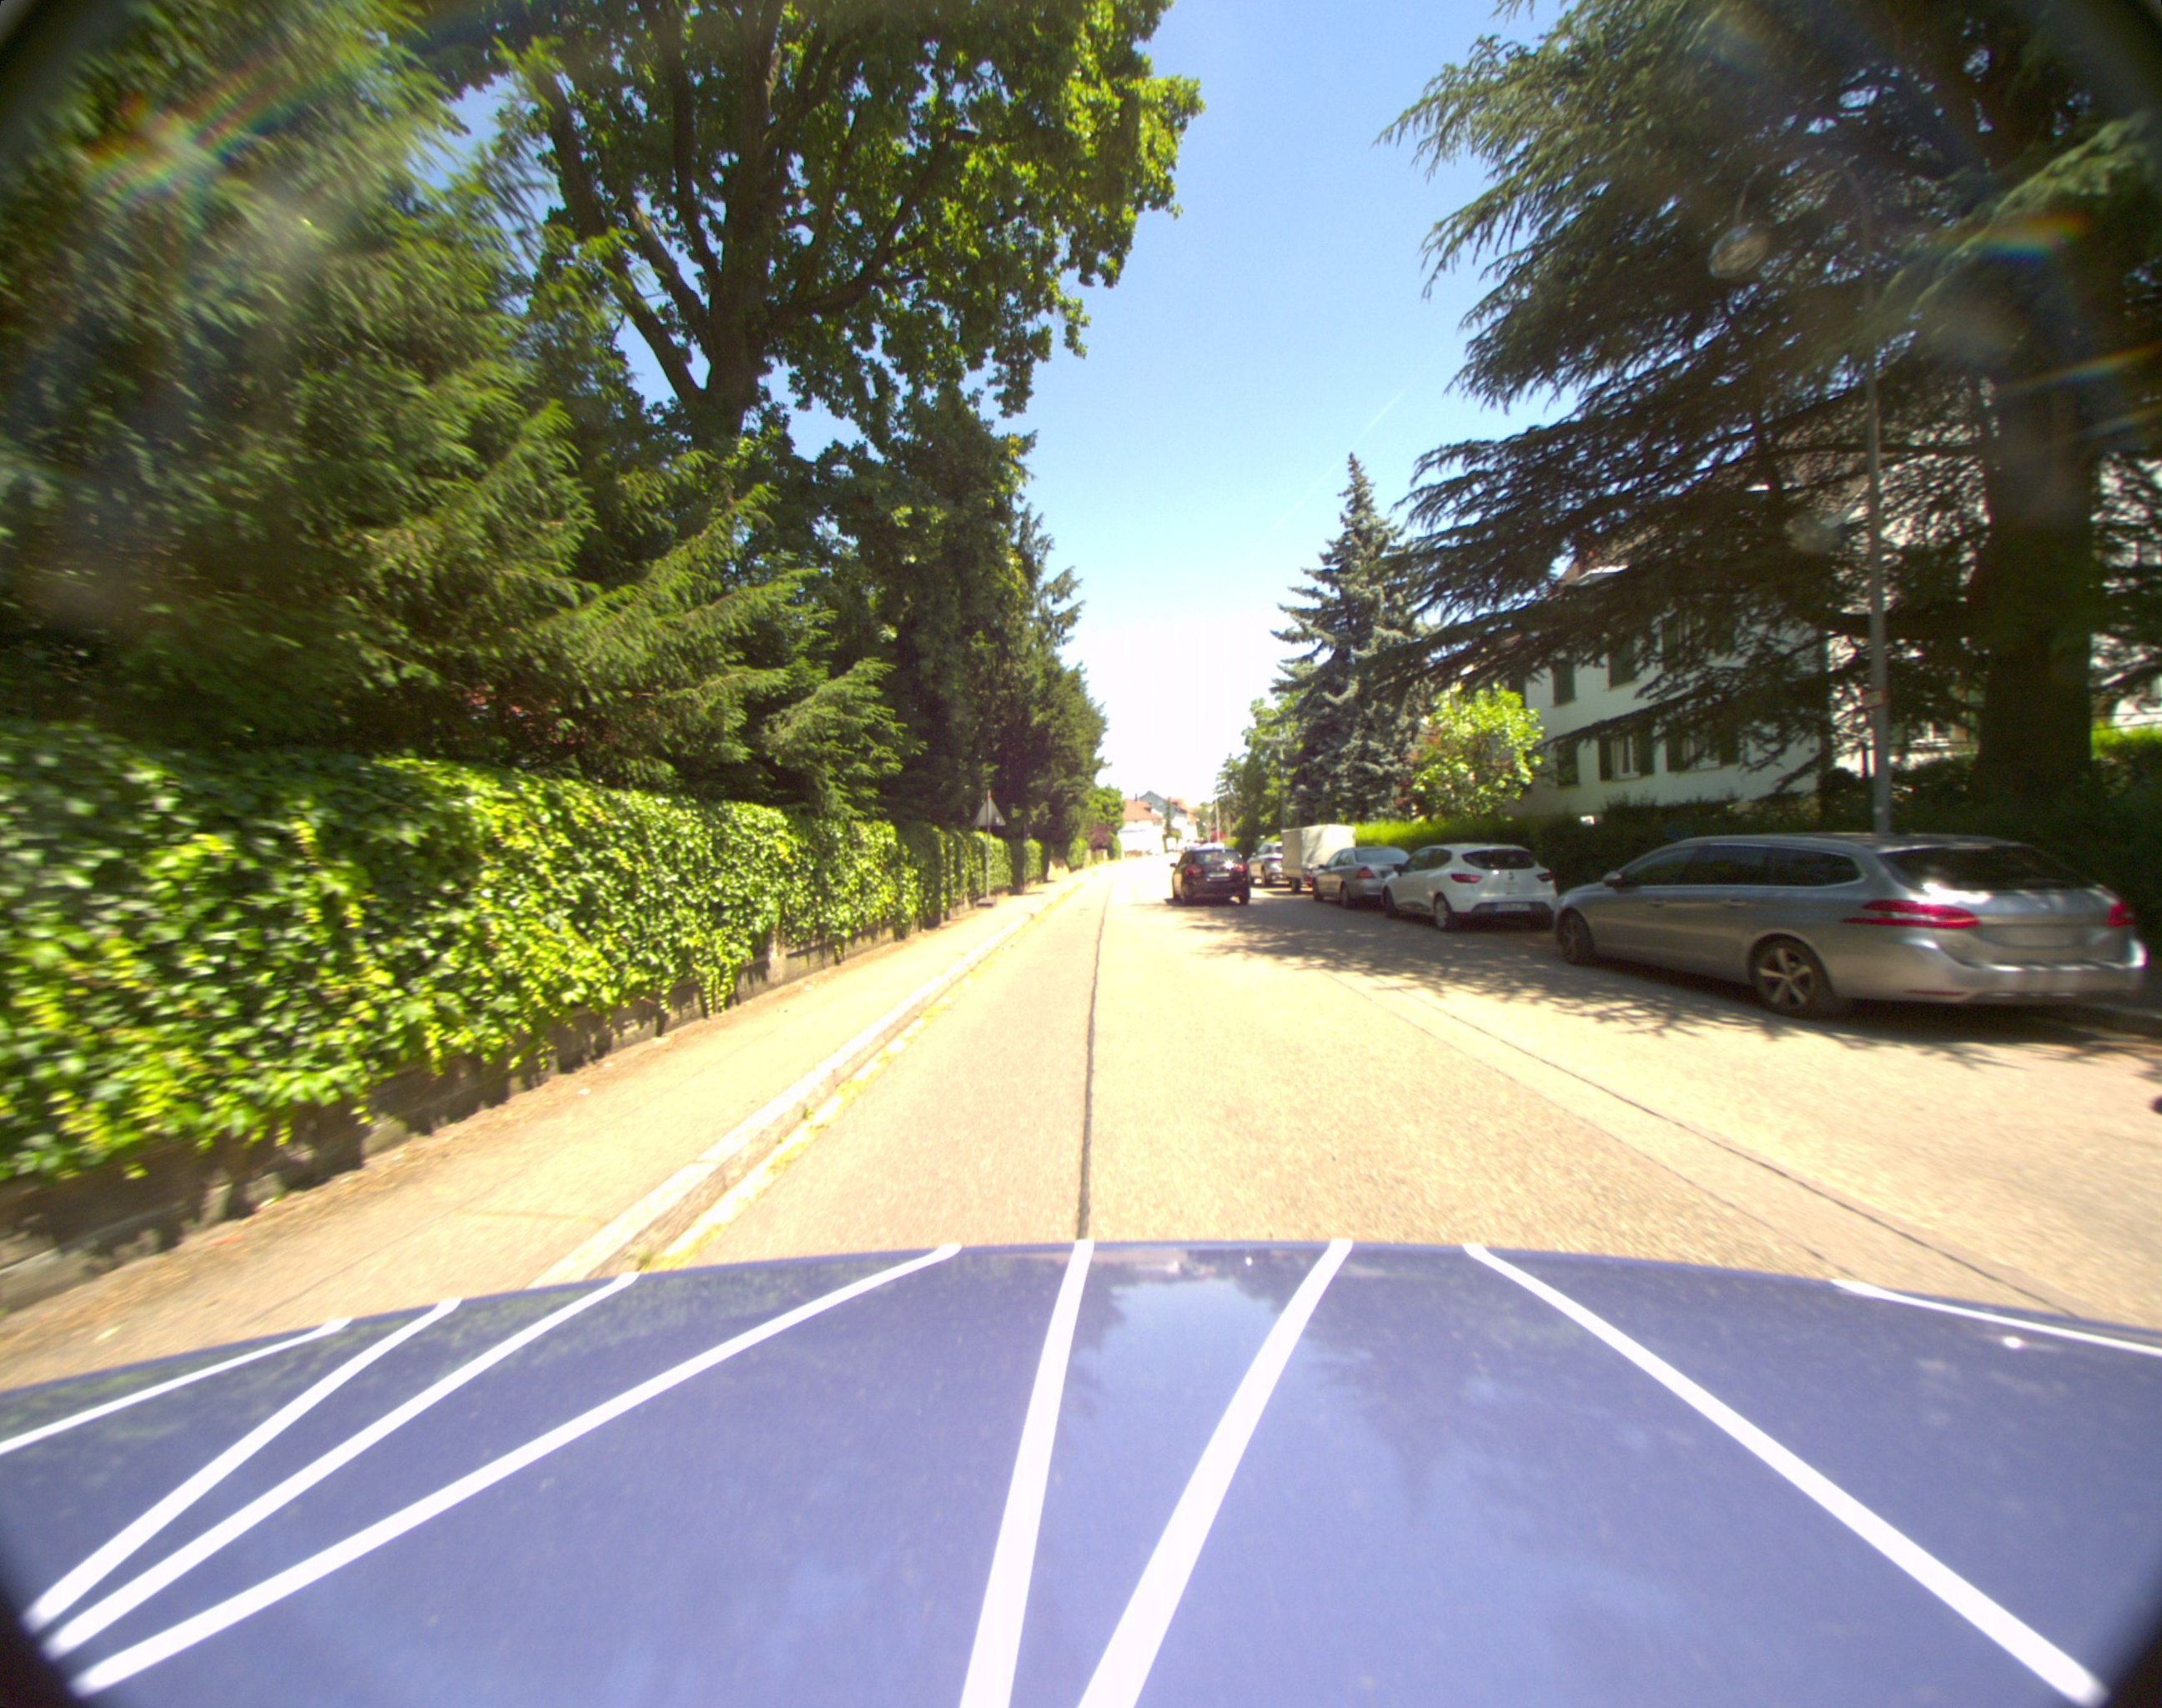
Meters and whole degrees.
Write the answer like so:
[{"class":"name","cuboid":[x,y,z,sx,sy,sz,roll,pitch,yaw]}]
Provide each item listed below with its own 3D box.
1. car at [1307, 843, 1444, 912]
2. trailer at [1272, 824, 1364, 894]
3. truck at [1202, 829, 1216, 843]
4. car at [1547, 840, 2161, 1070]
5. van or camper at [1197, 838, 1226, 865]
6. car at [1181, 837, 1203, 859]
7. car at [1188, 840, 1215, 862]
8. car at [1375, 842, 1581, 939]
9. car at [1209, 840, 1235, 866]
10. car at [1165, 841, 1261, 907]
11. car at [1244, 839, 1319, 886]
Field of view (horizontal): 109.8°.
[{"class":"car","cuboid":[6.960,0.475,18.457,1.800,1.434,4.477,-1,1,3]},{"class":"trailer","cuboid":[7.420,0.129,24.192,1.818,2.022,4.000,-1,1,2]},{"class":"truck","cuboid":[27.486,-3.901,162.535,2.224,2.915,6.730,0,1,16]},{"class":"car","cuboid":[6.417,0.616,6.973,1.801,1.434,4.272,-1,1,2]},{"class":"van or camper","cuboid":[9.024,-0.196,52.641,1.583,1.761,3.889,-2,1,4]},{"class":"car","cuboid":[11.019,-0.591,75.678,1.892,2.103,3.999,-1,1,5]},{"class":"car","cuboid":[9.875,-0.294,62.378,1.892,1.749,3.613,-1,1,5]},{"class":"car","cuboid":[6.791,0.523,13.512,1.800,1.434,3.896,-1,1,3]},{"class":"car","cuboid":[8.843,-0.073,47.708,1.308,1.568,2.321,-2,1,4]},{"class":"car","cuboid":[3.541,0.469,21.180,1.904,1.566,4.140,-2,1,0]},{"class":"car","cuboid":[7.406,0.248,28.485,1.772,1.610,4.549,-1,1,2]}]
